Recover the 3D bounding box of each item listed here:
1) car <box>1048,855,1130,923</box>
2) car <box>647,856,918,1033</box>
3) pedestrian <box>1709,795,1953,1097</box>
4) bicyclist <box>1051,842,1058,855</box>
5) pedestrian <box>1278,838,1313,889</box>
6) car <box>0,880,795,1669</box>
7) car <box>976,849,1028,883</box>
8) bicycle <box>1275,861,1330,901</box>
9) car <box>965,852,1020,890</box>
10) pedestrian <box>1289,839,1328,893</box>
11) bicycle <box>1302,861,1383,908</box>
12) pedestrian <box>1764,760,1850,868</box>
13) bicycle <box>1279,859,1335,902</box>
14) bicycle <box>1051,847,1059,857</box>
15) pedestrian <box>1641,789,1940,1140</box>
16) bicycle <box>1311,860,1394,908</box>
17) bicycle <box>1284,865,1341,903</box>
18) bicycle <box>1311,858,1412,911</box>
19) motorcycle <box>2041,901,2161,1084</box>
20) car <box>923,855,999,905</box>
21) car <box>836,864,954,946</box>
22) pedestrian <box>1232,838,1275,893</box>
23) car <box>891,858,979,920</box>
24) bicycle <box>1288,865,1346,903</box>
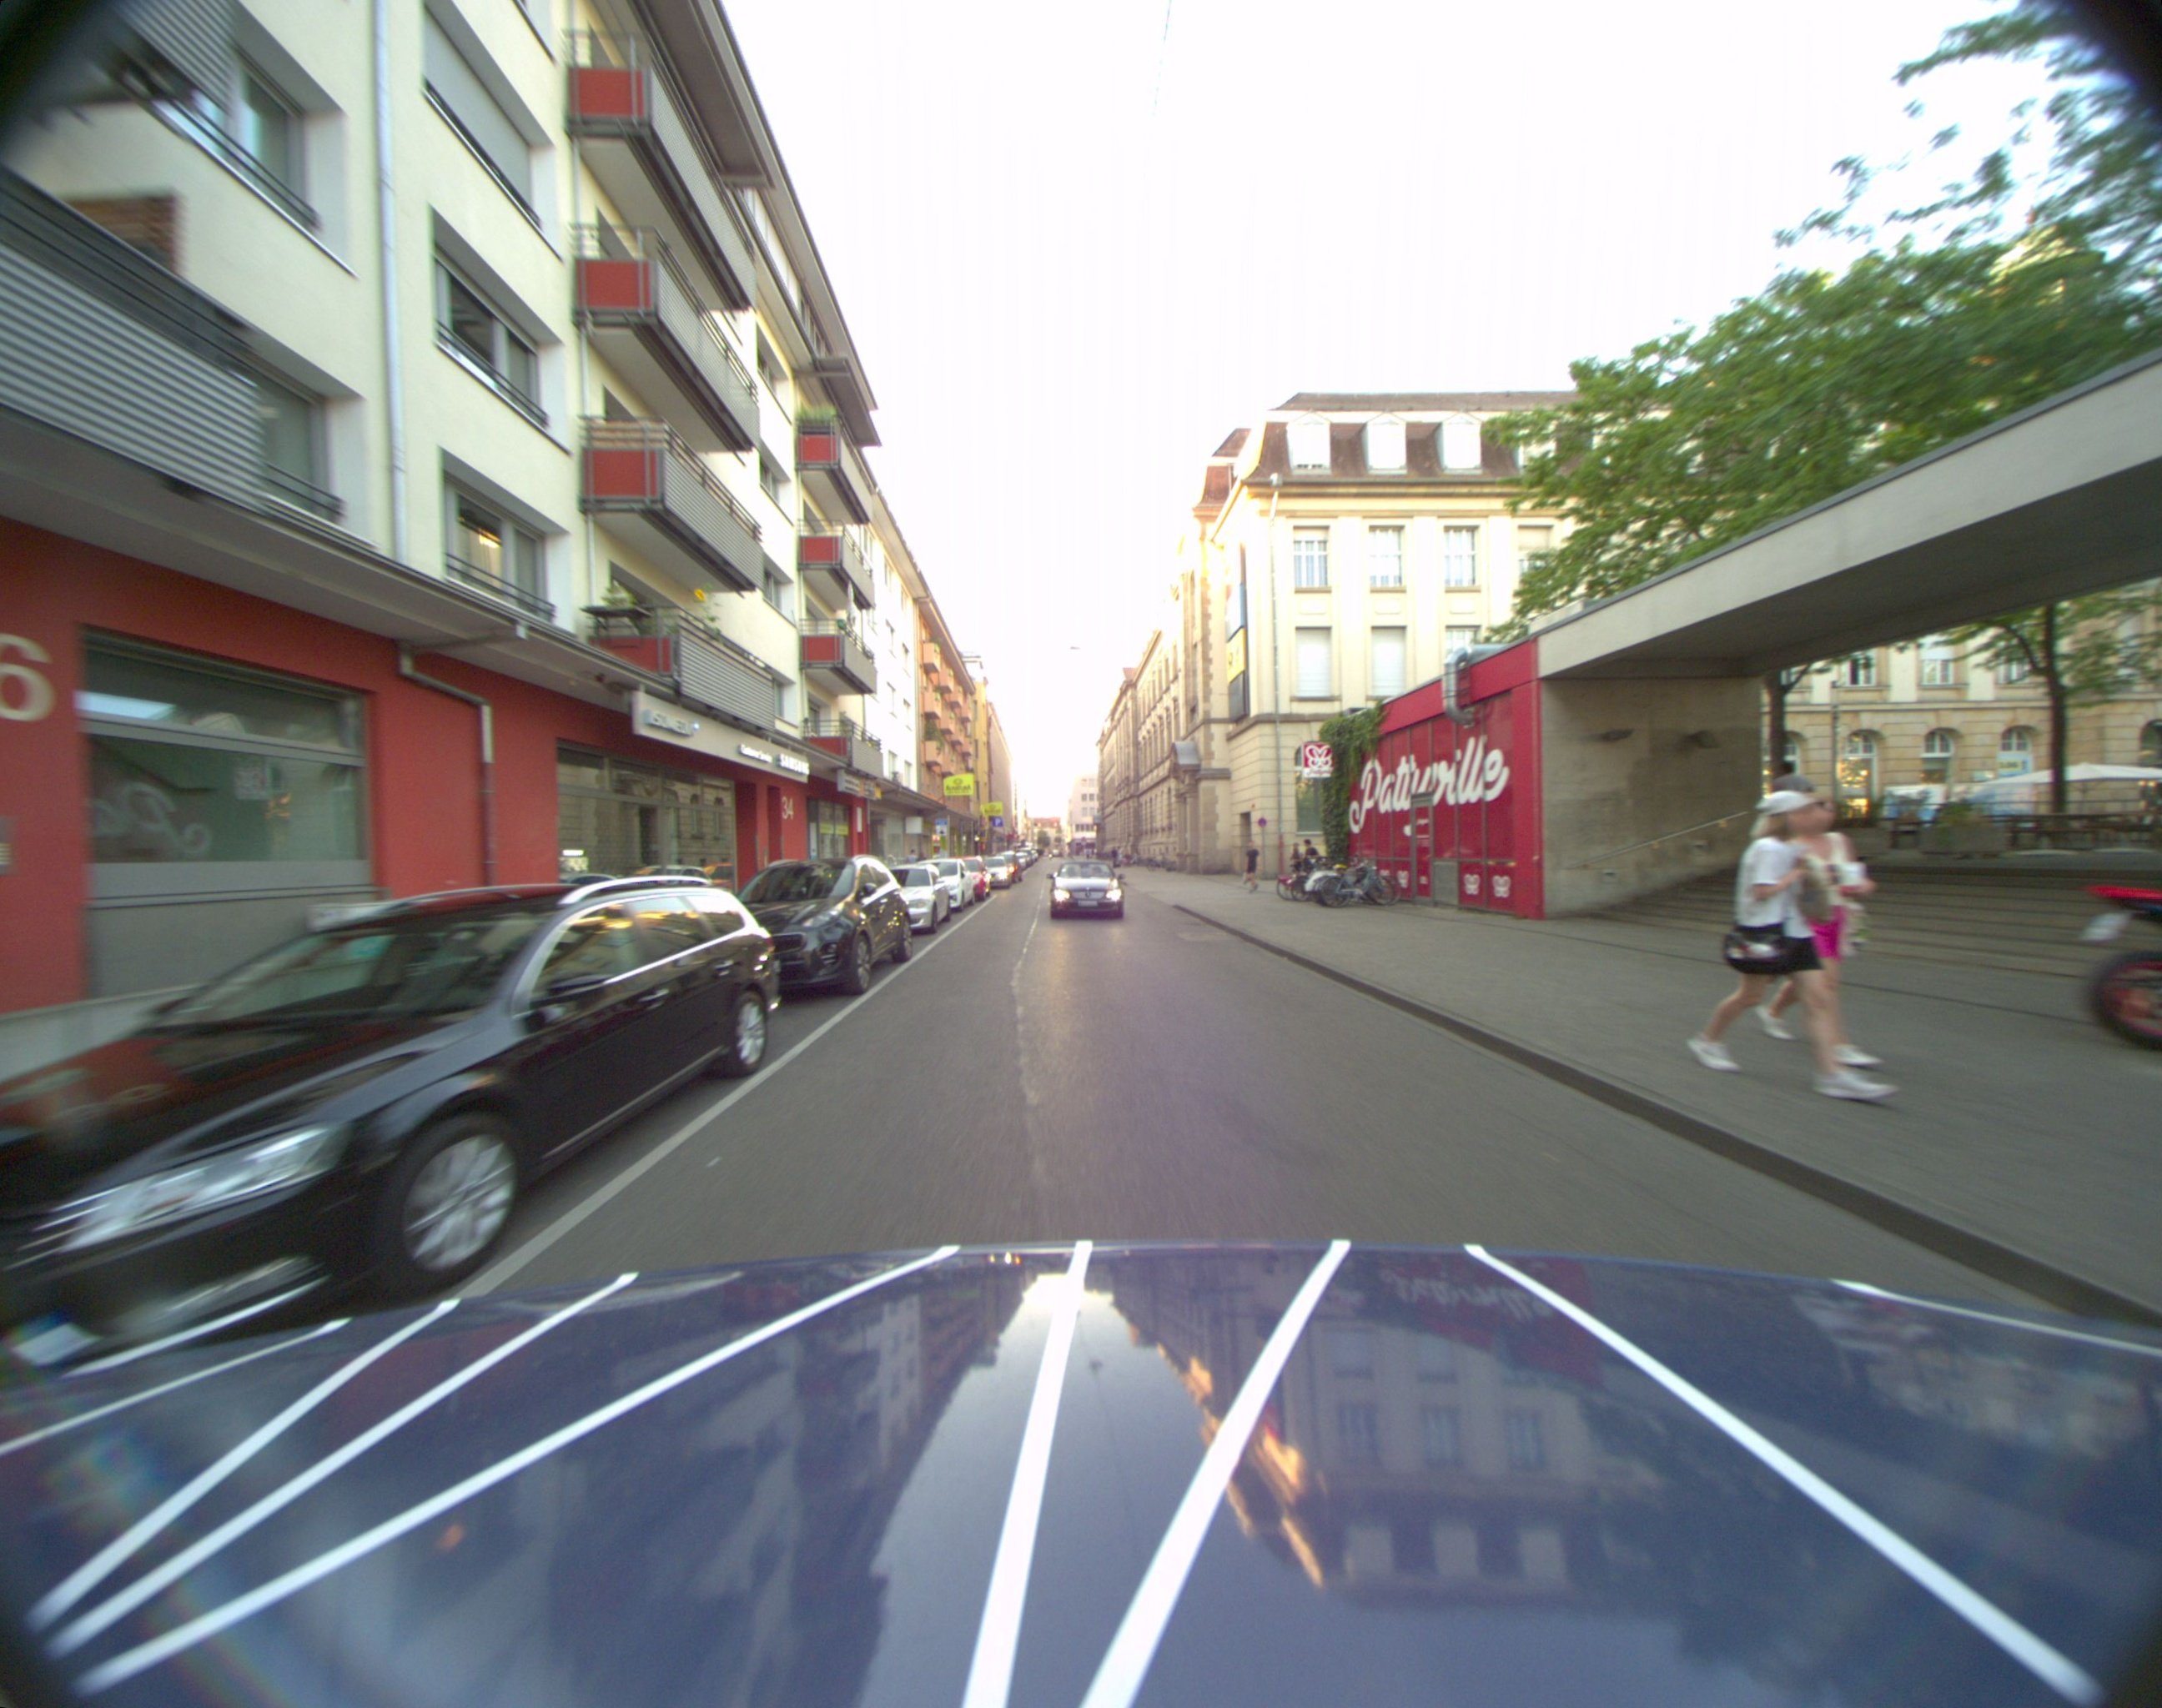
[{"bbox_3d":[0.189,0.788,19.247,1.809,1.400,4.616,0,1,0],"label":"car"},{"bbox_3d":[-3.516,0.939,9.903,1.884,1.690,4.136,-3,1,-1],"label":"car"},{"bbox_3d":[4.821,0.555,4.943,0.811,1.783,0.736,-3,1,0],"label":"pedestrian"},{"bbox_3d":[-4.214,-0.920,119.825,1.045,2.002,1.182,-2,1,0],"label":"bicyclist"},{"bbox_3d":[7.389,0.318,26.209,0.920,1.717,0.702,-2,1,-7],"label":"pedestrian"},{"bbox_3d":[-3.331,1.044,3.899,1.878,1.543,4.630,-3,0,0],"label":"car"},{"bbox_3d":[-4.032,0.582,39.667,1.998,1.607,4.367,-3,0,3],"label":"car"},{"bbox_3d":[6.372,0.768,21.897,1.501,1.070,0.312,-3,1,-10],"label":"bicycle"},{"bbox_3d":[-3.872,0.721,33.945,1.897,1.468,4.300,-3,0,0],"label":"car"},{"bbox_3d":[7.567,0.386,25.259,0.921,1.717,0.833,-2,1,-9],"label":"pedestrian"},{"bbox_3d":[6.533,0.756,19.005,1.844,1.077,0.354,-3,1,4],"label":"bicycle"},{"bbox_3d":[12.753,-0.680,13.359,0.834,1.816,0.943,-4,1,-38],"label":"pedestrian"},{"bbox_3d":[6.400,0.746,21.553,1.501,1.134,0.312,-3,1,-10],"label":"bicycle"},{"bbox_3d":[-4.152,-0.392,120.118,1.038,1.513,2.822,-2,1,3],"label":"bicycle"},{"bbox_3d":[3.995,0.574,4.367,0.851,1.783,0.869,-3,1,0],"label":"pedestrian"},{"bbox_3d":[6.619,0.739,18.554,1.844,1.077,0.354,-2,1,4],"label":"bicycle"},{"bbox_3d":[6.472,0.821,21.237,1.501,0.973,0.312,-3,1,-10],"label":"bicycle"},{"bbox_3d":[6.694,0.717,18.188,2.180,1.149,0.446,-3,1,4],"label":"bicycle"},{"bbox_3d":[7.226,0.824,4.512,1.824,1.063,0.534,-3,1,27],"label":"motorcycle"},{"bbox_3d":[-4.036,0.827,26.266,1.866,1.468,4.394,-3,0,0],"label":"car"},{"bbox_3d":[-3.872,0.991,16.453,1.752,1.395,3.965,-3,0,-4],"label":"car"},{"bbox_3d":[5.988,0.394,26.386,1.009,1.816,0.944,-3,1,-29],"label":"pedestrian"},{"bbox_3d":[-4.082,0.923,21.834,1.767,1.468,3.947,-3,0,-1],"label":"car"},{"bbox_3d":[6.504,0.820,20.927,1.501,0.950,0.312,-3,1,-10],"label":"bicycle"}]
